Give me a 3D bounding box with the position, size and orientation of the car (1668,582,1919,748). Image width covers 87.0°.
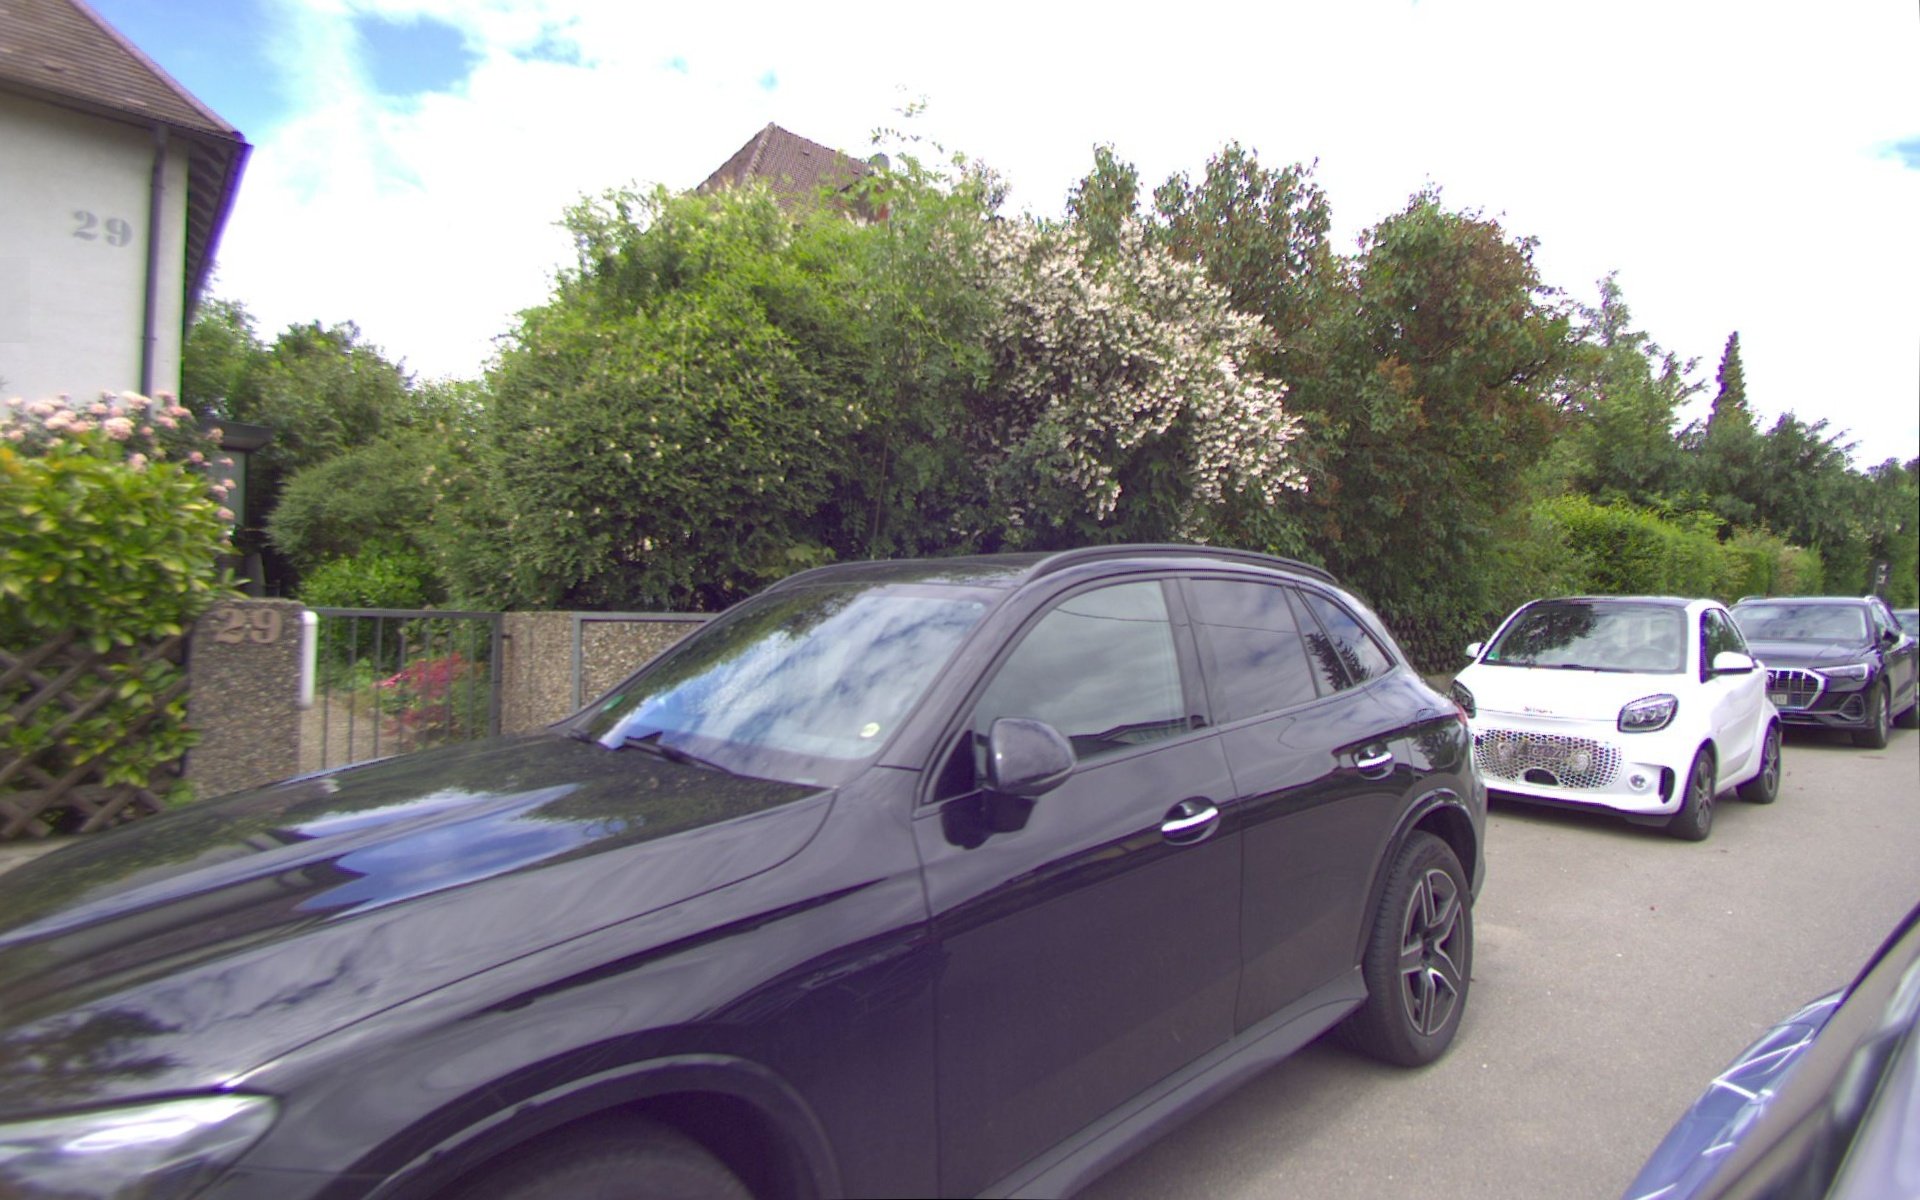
[{"bbox_3d":[10.012,0.620,11.850,4.067,1.612,1.805,0,1,-40],"label":"car"}]

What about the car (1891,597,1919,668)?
[{"bbox_3d":[22.327,0.715,22.747,4.284,1.496,1.758,1,0,-43],"label":"car"}]

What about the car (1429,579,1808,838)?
[{"bbox_3d":[4.983,0.641,7.559,2.960,1.529,1.602,1,0,-40],"label":"car"}]

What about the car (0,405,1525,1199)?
[{"bbox_3d":[-0.173,0.634,2.945,4.303,1.647,1.952,-1,0,-43],"label":"car"}]

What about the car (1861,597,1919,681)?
[{"bbox_3d":[18.608,0.715,19.372,4.072,1.479,1.718,1,0,-44],"label":"car"}]
